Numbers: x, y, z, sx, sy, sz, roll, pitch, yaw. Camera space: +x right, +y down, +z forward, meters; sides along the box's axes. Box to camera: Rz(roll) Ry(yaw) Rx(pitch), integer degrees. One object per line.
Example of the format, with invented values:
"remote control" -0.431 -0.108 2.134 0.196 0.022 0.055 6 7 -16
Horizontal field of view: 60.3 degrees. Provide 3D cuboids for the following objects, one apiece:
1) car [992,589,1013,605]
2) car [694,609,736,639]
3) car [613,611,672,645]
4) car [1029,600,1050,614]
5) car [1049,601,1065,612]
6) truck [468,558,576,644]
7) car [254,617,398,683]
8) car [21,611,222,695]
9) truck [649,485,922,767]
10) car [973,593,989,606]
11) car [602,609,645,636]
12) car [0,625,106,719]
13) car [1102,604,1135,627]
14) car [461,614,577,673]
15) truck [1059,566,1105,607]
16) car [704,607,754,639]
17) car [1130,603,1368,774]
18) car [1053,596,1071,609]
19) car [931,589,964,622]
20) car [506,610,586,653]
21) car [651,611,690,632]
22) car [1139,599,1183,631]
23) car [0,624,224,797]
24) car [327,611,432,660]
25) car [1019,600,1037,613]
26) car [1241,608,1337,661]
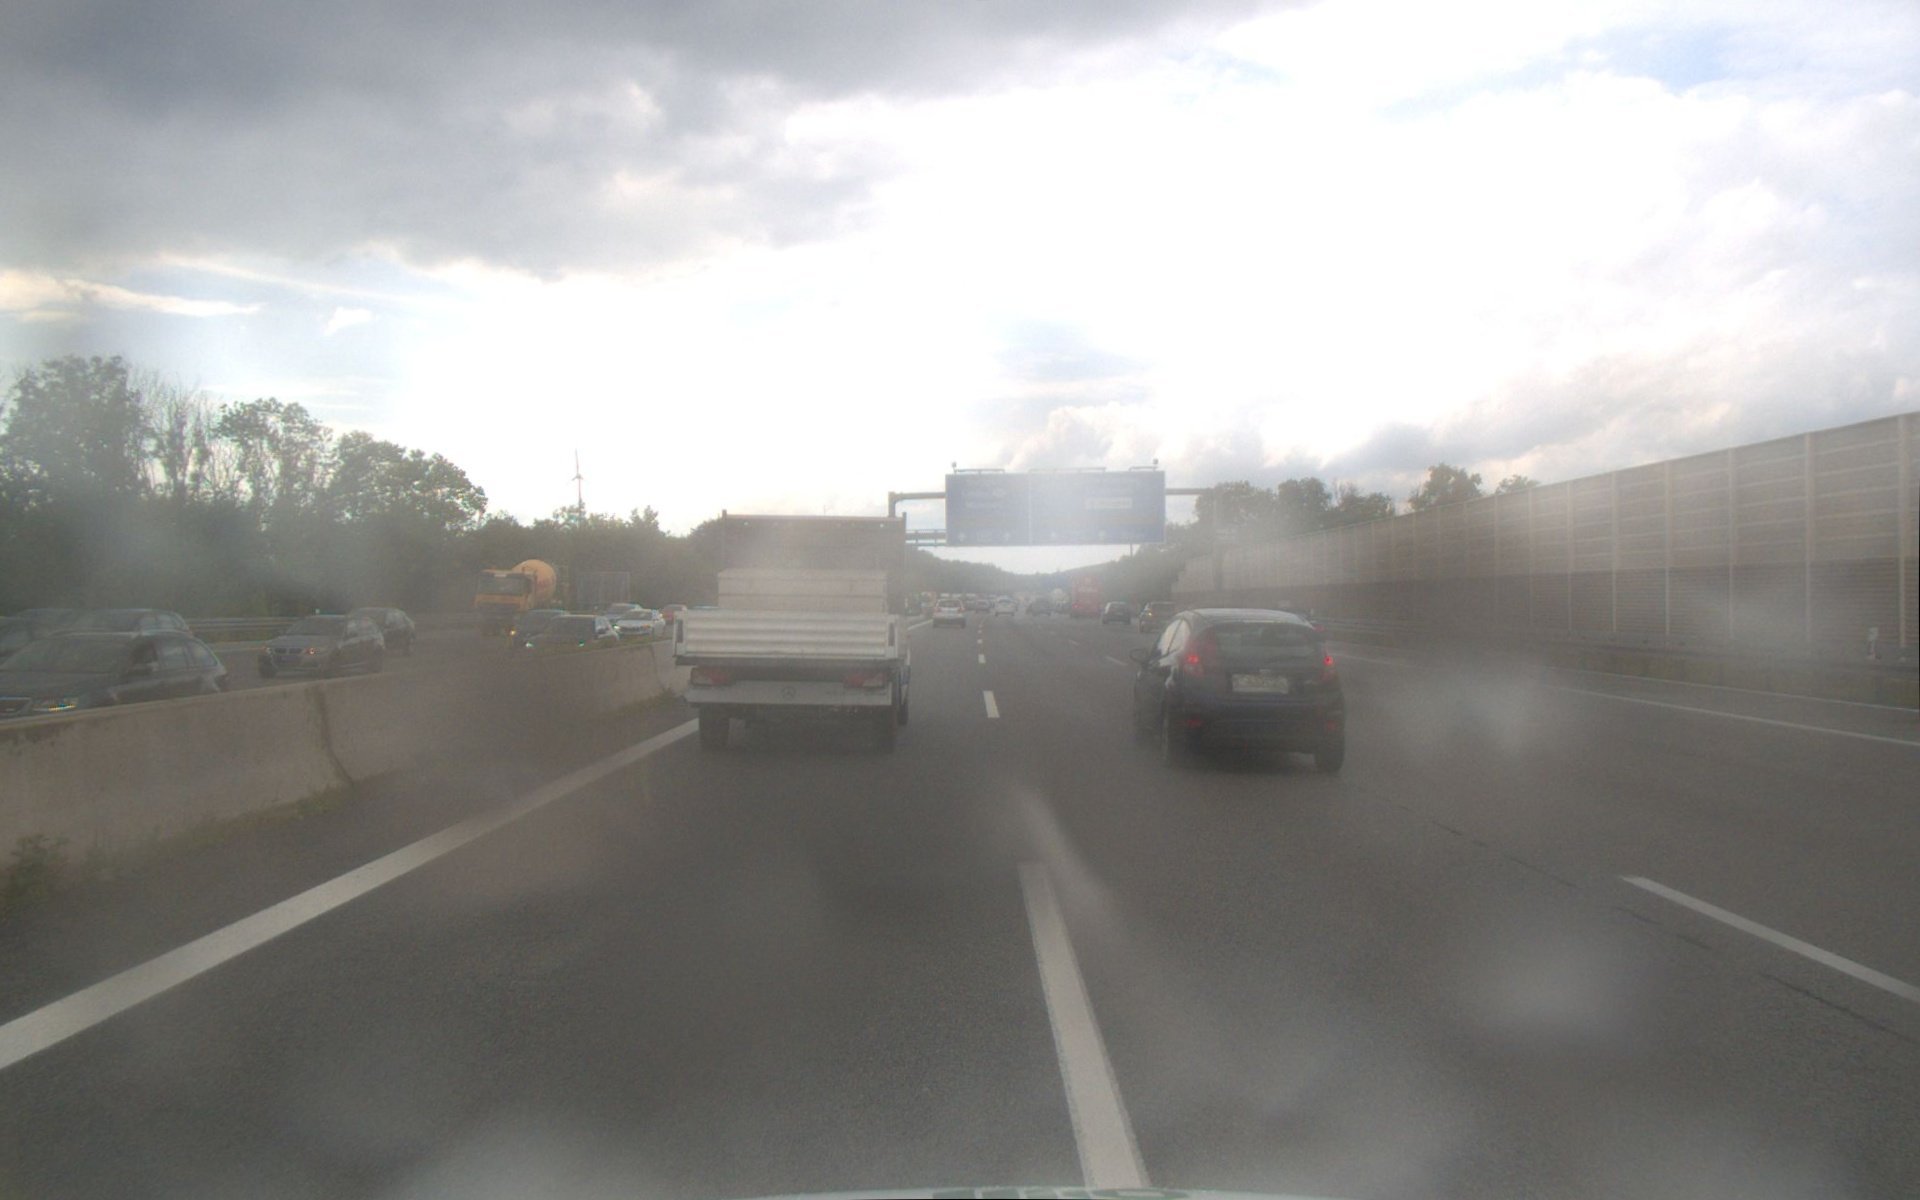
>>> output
"car" 4.246 -0.329 166.318 1.928 1.588 4.432 0 0 -1
"car" -14.495 1.402 97.904 1.687 1.631 4.645 2 0 1
"car" -14.741 1.269 76.944 1.687 1.495 4.849 2 0 1
"car" 8.658 0.758 180.265 1.928 1.588 4.431 0 0 -1
"car" 13.842 0.891 237.370 1.928 1.588 4.431 0 0 -1
"truck" -22.225 0.045 84.478 2.855 4.084 9.583 1 0 0
"car" -15.432 1.191 40.495 1.687 1.453 4.519 2 0 1
"car" -18.415 1.099 36.639 1.687 1.674 5.236 2 0 1
"truck" -1.642 0.185 18.315 2.260 2.482 7.148 1 1 0
"car" 2.712 -0.052 213.237 1.928 1.588 4.432 0 0 -1
"car" -21.591 1.440 106.253 1.687 1.631 4.913 2 0 1
"car" -15.863 1.159 26.921 1.687 1.443 4.202 -1 0 1
"car" 10.980 1.053 114.828 1.844 1.588 4.432 0 0 -1
"car" -11.979 1.145 45.289 1.687 1.453 5.230 2 0 1
"truck" 11.564 -1.269 157.713 3.088 3.664 12.696 1 1 -1
"car" -10.846 1.066 78.012 1.688 1.453 4.649 2 0 0
"car" 2.718 0.771 16.437 1.682 1.442 4.279 0 0 1
"car" 13.155 0.339 213.423 1.928 1.588 4.431 0 0 -1
"car" -0.640 0.265 88.964 1.682 1.652 4.279 0 1 1
"car" -15.020 1.110 60.220 1.687 1.453 4.519 2 0 1
"car" -21.490 1.603 122.877 1.941 1.520 4.913 0 0 1
"car" 10.210 0.755 84.228 1.843 1.569 4.434 0 0 2
"car" -10.644 1.173 19.464 1.688 1.674 4.992 2 0 0
"car" -18.530 1.093 53.032 1.687 1.453 4.519 2 0 1
"car" 8.315 0.806 202.637 1.928 1.588 4.431 0 0 -2
"car" 9.337 0.949 47.208 1.910 1.443 4.232 0 0 0
